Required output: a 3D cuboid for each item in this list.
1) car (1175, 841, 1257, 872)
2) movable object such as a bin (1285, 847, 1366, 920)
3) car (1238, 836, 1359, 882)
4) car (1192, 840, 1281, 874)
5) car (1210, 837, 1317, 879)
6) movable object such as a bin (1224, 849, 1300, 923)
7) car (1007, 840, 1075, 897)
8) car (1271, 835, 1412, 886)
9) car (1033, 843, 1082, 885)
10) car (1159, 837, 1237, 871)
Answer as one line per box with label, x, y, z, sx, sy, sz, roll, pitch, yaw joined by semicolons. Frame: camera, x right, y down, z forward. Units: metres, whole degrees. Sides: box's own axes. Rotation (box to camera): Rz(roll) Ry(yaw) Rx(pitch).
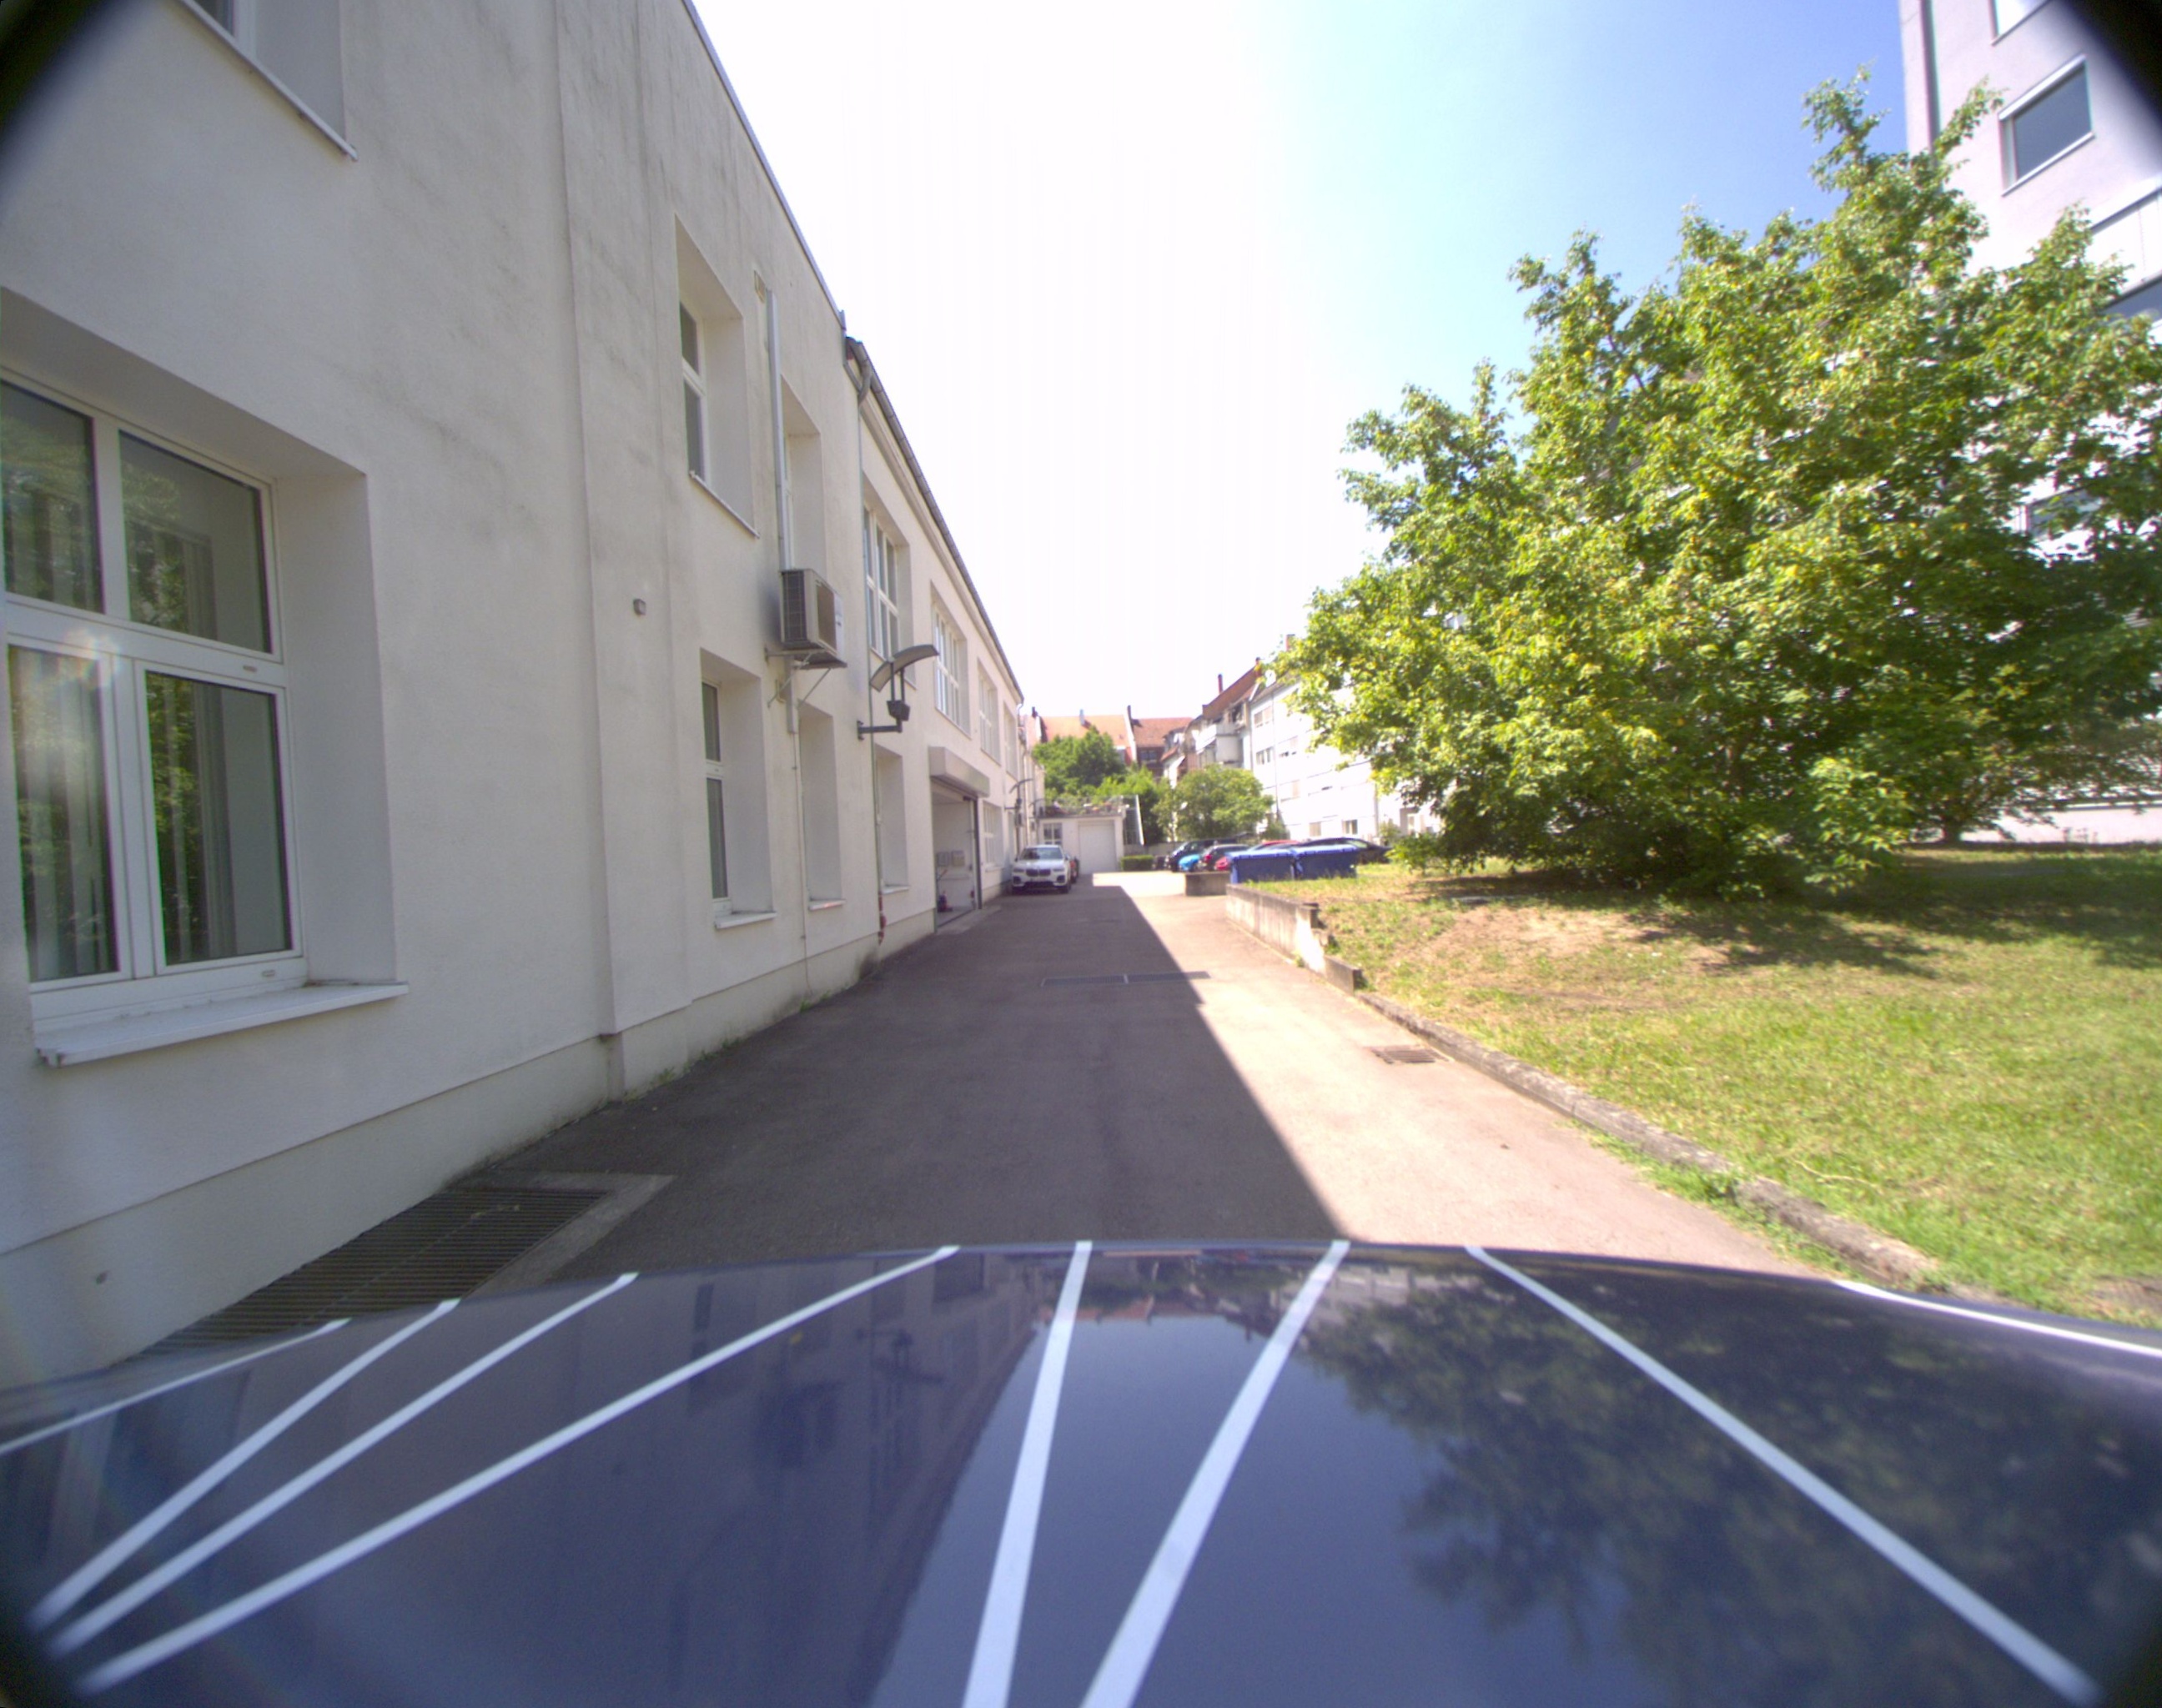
car;7.571;0.128;42.770;4.223;1.560;1.612;-3;2;-4
movable object such as a bin;4.948;0.574;15.453;1.271;1.381;1.095;-2;2;2
car;8.482;0.162;29.764;4.223;1.560;1.612;-3;2;-4
car;8.108;0.152;39.698;4.223;1.560;1.612;-3;2;-4
car;7.907;0.148;33.083;4.223;1.560;1.612;-3;2;-4
movable object such as a bin;3.650;0.631;15.461;1.271;1.381;1.095;-2;2;2
car;-1.361;0.457;27.851;2.011;1.793;4.726;-2;1;2
car;9.203;0.189;27.040;4.444;1.560;1.612;-3;2;-4
car;-1.061;0.405;36.650;2.011;1.793;4.726;-2;1;2
car;7.017;-0.039;45.717;4.223;1.813;2.008;-3;2;-4
